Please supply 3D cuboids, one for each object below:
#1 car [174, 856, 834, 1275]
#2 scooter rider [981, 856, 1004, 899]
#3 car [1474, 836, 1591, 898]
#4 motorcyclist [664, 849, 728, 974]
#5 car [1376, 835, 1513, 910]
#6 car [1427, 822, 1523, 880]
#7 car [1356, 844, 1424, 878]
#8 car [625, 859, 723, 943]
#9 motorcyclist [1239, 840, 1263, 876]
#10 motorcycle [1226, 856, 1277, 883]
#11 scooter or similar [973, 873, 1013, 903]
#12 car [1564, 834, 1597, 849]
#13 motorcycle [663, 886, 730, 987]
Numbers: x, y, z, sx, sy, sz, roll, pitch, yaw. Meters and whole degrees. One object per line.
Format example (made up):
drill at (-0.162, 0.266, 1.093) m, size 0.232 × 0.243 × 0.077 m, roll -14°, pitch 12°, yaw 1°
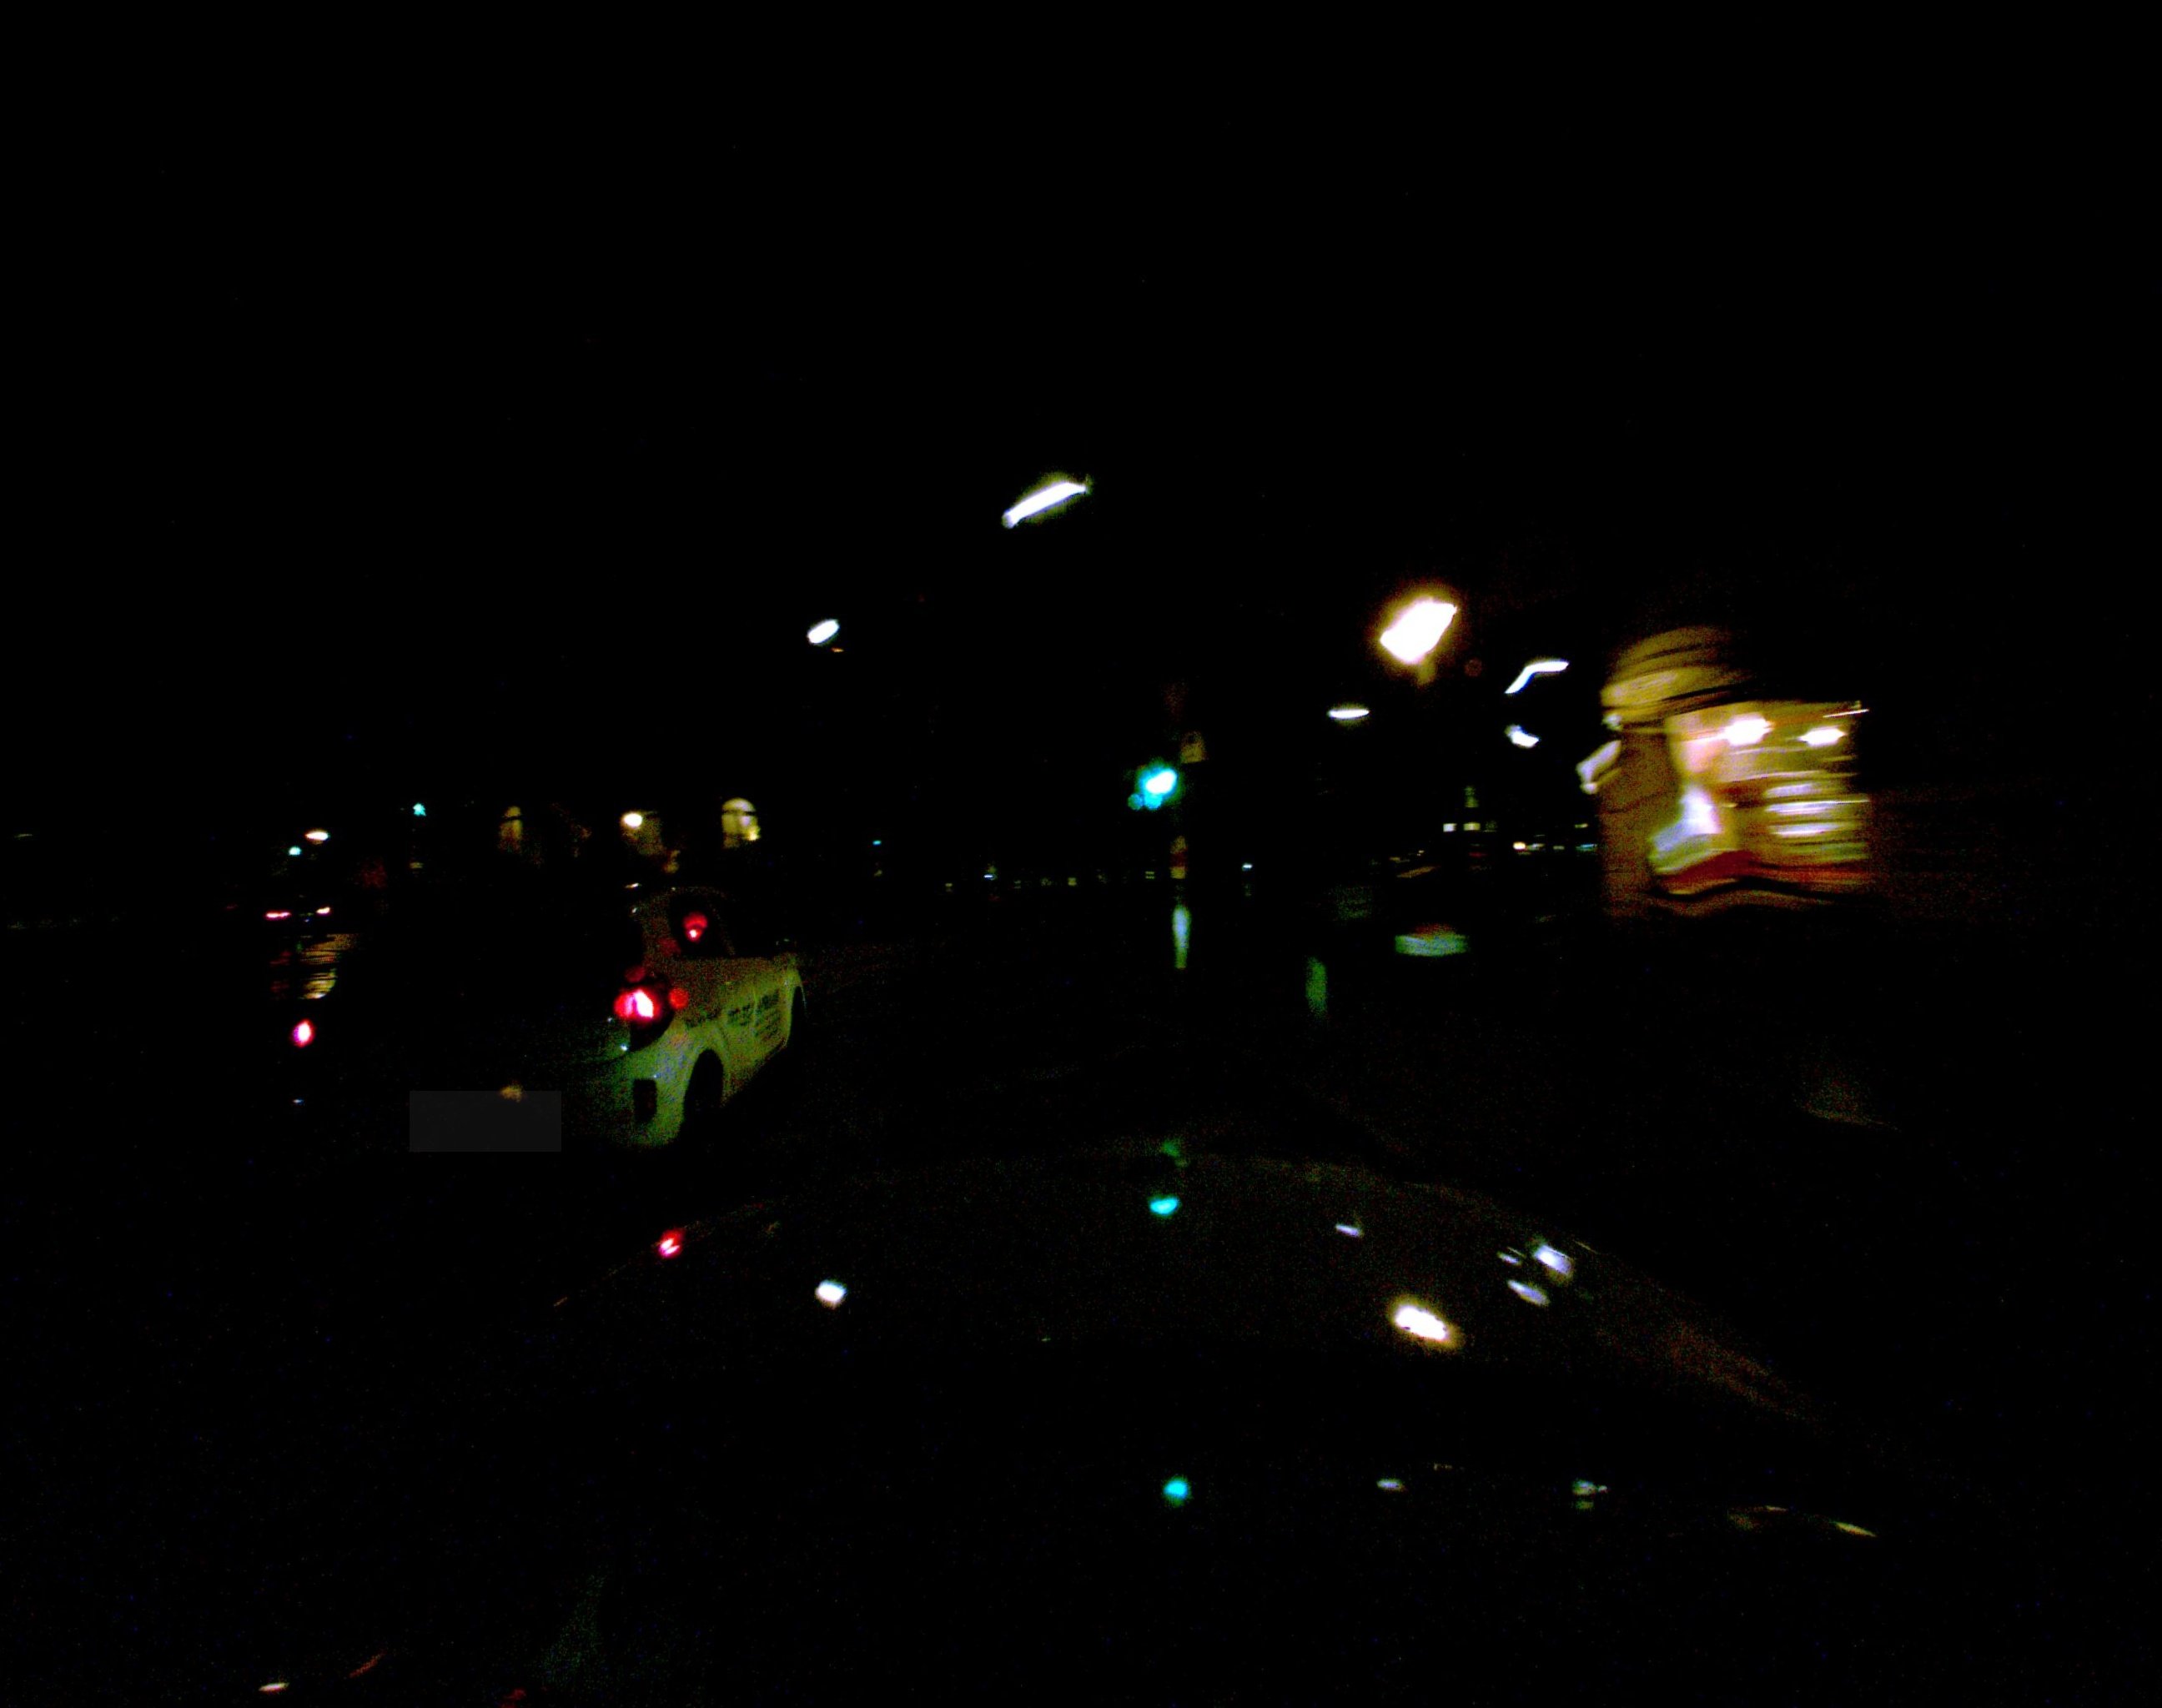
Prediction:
car at (-2.814, 0.824, 5.083) m, size 1.919 × 1.516 × 3.586 m, roll -2°, pitch 1°, yaw -10°
scooter rider at (-3.355, 0.876, 30.977) m, size 0.655 × 1.573 × 0.636 m, roll 0°, pitch 1°, yaw -32°
car at (12.673, 0.333, 22.766) m, size 4.079 × 1.442 × 1.630 m, roll -2°, pitch -4°, yaw -44°
motorcyclist at (-5.475, 0.777, 11.570) m, size 0.794 × 1.695 × 0.813 m, roll 0°, pitch 0°, yaw -27°
car at (8.739, 0.410, 19.462) m, size 3.601 × 1.525 × 1.632 m, roll -2°, pitch -4°, yaw -44°
car at (17.778, -0.191, 36.629) m, size 5.416 × 2.441 × 2.196 m, roll -2°, pitch 1°, yaw -45°
car at (19.680, 0.394, 51.778) m, size 5.340 × 1.825 × 1.976 m, roll -3°, pitch 4°, yaw -44°
car at (-9.457, 1.006, 19.188) m, size 1.755 × 1.739 × 3.771 m, roll 0°, pitch 0°, yaw -22°
motorcyclist at (8.371, 0.209, 40.161) m, size 1.020 × 1.731 × 0.711 m, roll -3°, pitch -2°, yaw 4°
motorcycle at (8.396, 0.773, 40.137) m, size 2.307 × 1.230 × 0.711 m, roll -3°, pitch -2°, yaw 4°
scooter or similar at (-3.346, 1.282, 30.980) m, size 1.374 × 1.052 × 0.636 m, roll -1°, pitch 1°, yaw -33°
car at (48.484, -1.219, 79.037) m, size 4.023 × 1.386 × 1.653 m, roll -1°, pitch 1°, yaw -43°
motorcycle at (-5.526, 1.101, 11.649) m, size 0.794 × 1.213 × 2.230 m, roll 0°, pitch 0°, yaw -27°
